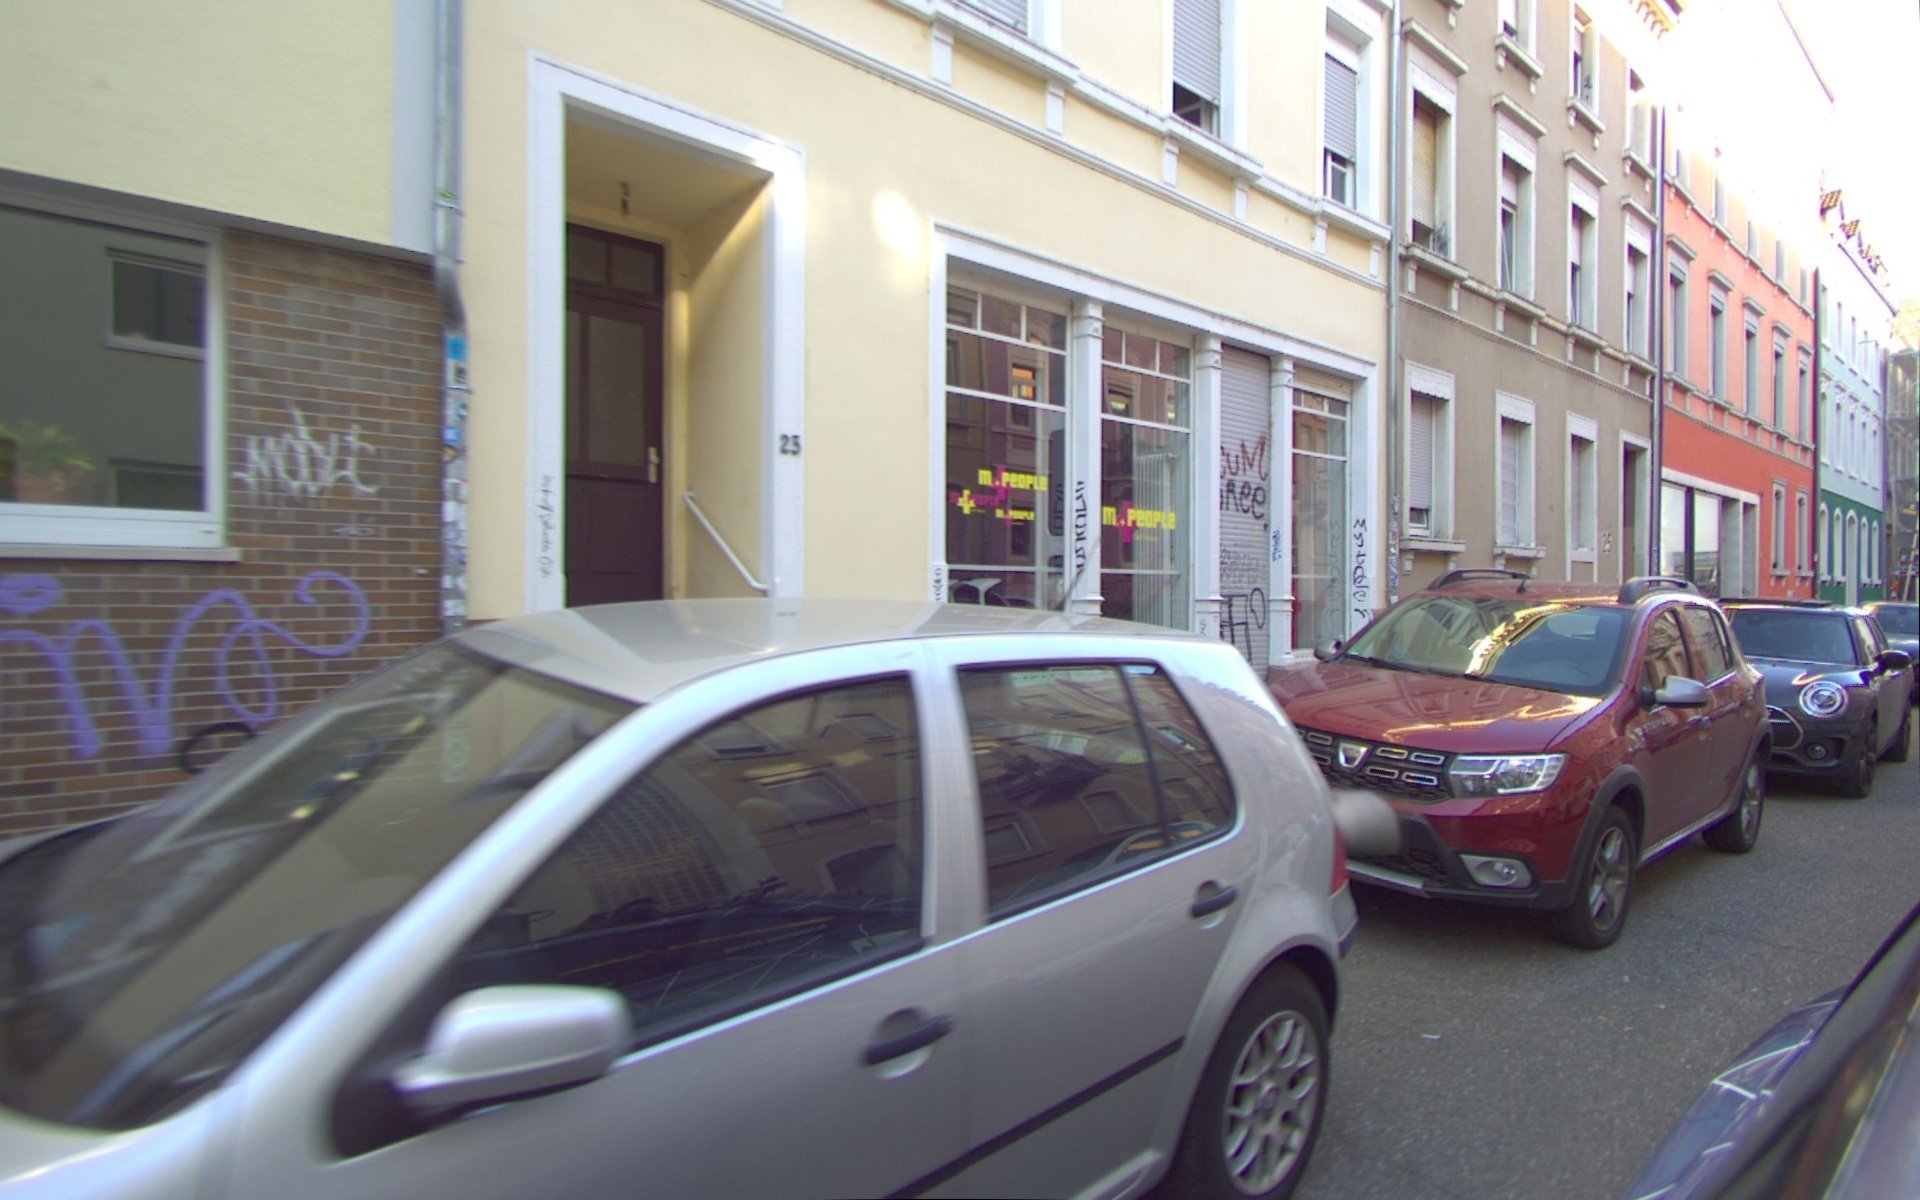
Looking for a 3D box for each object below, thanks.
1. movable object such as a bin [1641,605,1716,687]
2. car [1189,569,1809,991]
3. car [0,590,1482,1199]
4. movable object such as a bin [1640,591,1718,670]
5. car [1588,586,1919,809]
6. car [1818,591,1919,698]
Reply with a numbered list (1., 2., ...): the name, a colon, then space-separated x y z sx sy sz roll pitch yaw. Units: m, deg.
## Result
1. movable object such as a bin: 10.448 0.654 14.713 0.630 1.122 0.717 1 2 -40
2. car: 3.235 0.646 5.734 3.930 1.570 1.793 0 1 -41
3. car: -0.601 0.742 2.176 4.121 1.471 1.691 0 2 -42
4. movable object such as a bin: 10.955 0.447 15.425 0.889 1.122 0.633 3 2 39
5. car: 7.389 0.667 9.108 4.304 1.541 1.764 0 0 -41
6. car: 15.081 0.624 15.882 4.386 1.501 1.830 0 1 -41
